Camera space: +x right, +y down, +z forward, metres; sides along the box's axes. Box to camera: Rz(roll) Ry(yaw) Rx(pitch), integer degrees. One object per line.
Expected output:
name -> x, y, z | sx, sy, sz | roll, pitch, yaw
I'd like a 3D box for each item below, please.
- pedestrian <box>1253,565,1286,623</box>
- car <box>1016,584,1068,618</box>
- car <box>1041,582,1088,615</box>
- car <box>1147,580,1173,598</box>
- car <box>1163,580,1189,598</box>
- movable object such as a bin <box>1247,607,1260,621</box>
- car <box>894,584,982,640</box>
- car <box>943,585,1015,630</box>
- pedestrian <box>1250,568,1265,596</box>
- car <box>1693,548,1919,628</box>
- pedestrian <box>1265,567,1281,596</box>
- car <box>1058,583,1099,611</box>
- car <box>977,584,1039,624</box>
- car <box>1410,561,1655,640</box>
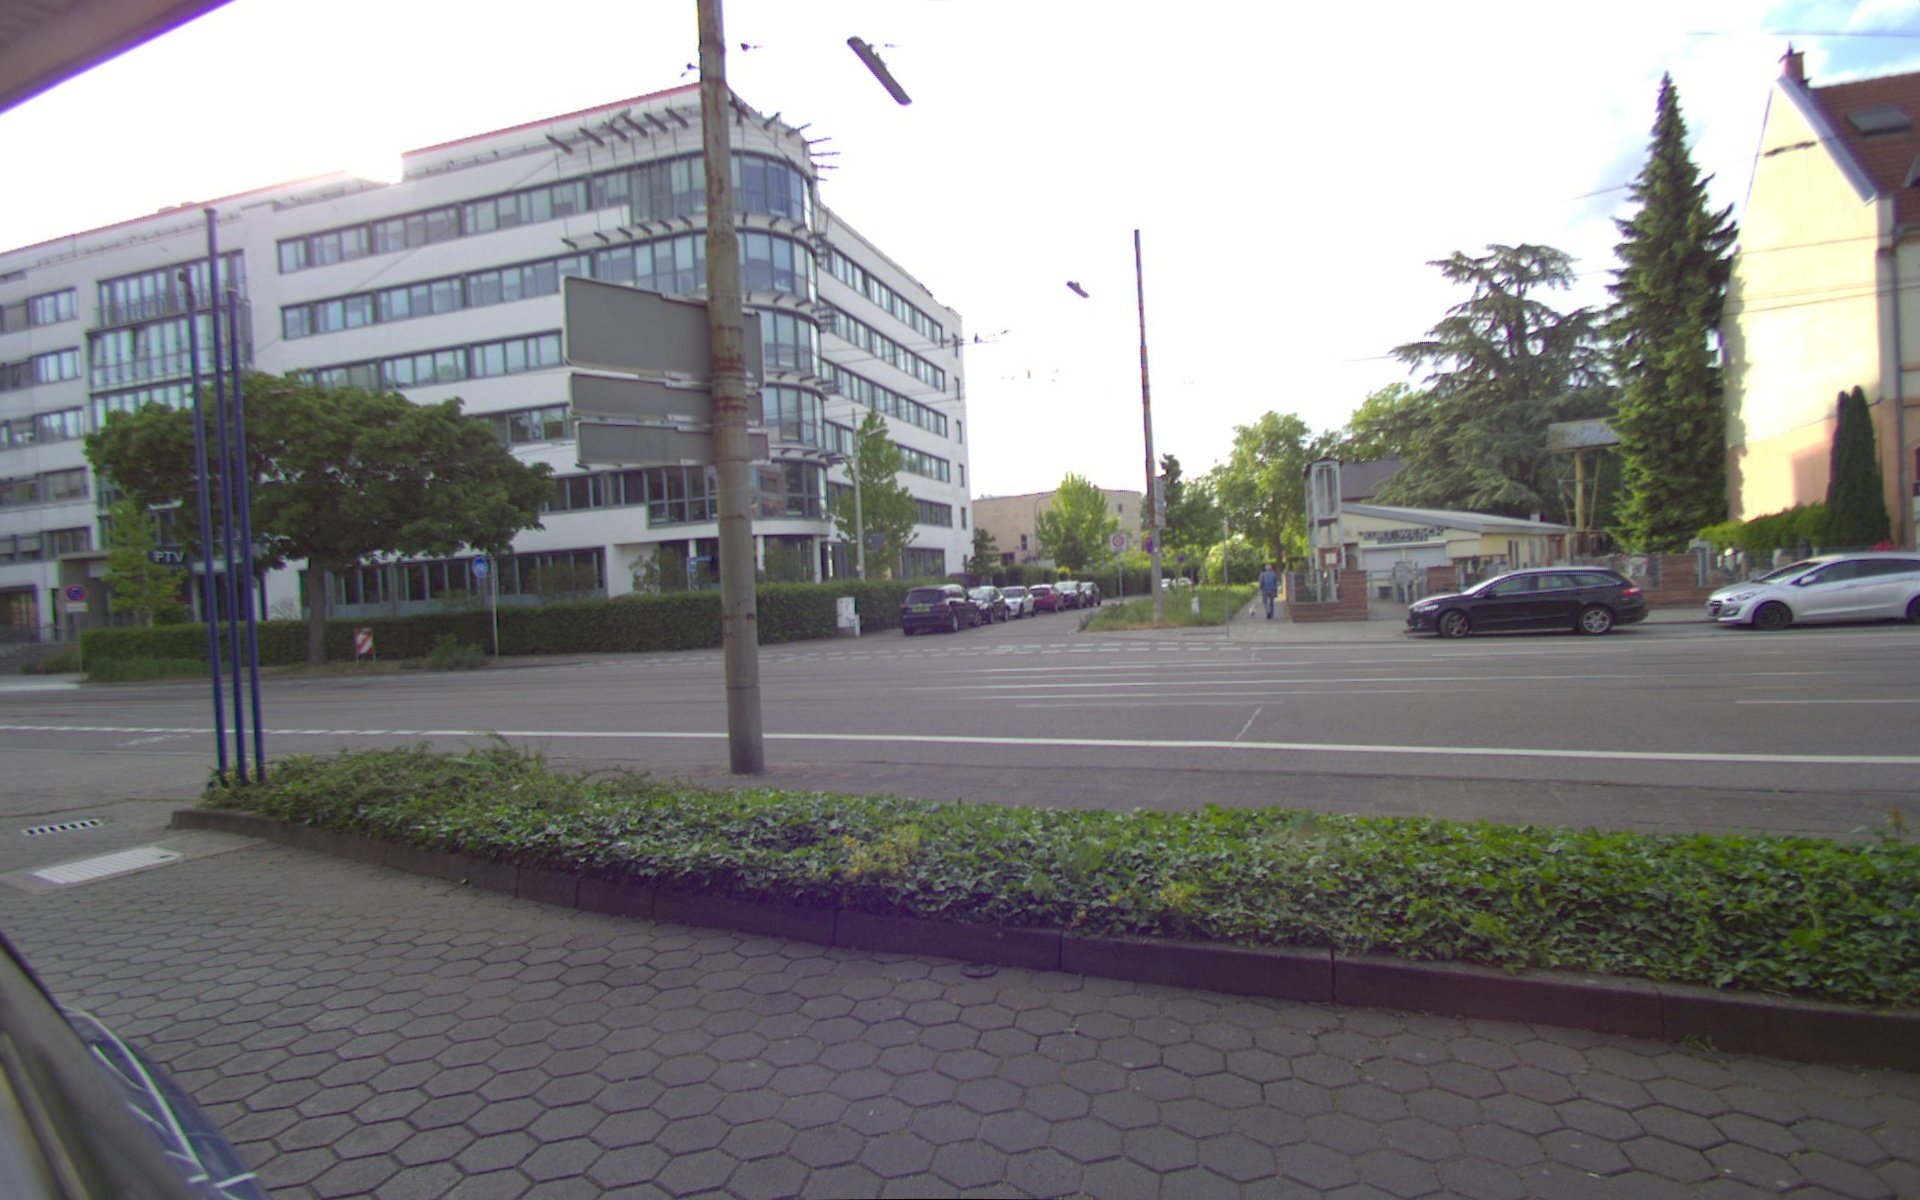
pedestrian -> 9.752, -0.197, 31.874 | 0.902, 1.712, 0.920 | -3, 2, 18
car -> 4.296, 0.023, 52.407 | 1.807, 1.589, 4.175 | -4, 0, 16
car -> 6.027, -0.136, 57.805 | 1.807, 1.704, 4.392 | -4, 0, 16
car -> 19.957, -1.138, 100.906 | 1.811, 1.654, 4.044 | -4, 0, 22
car -> 22.835, -1.158, 106.853 | 1.813, 1.654, 4.040 | -4, 0, 25
movable object such as a bin -> 9.685, 0.461, 33.415 | 0.363, 0.397, 0.660 | -2, 3, 15
car -> -0.693, 0.358, 35.567 | 1.807, 1.701, 4.370 | -4, 1, 16
car -> 0.825, 0.271, 40.982 | 1.807, 1.589, 4.175 | -4, 0, 16
pedestrian -> 20.302, -1.225, 69.047 | 0.965, 1.896, 1.056 | -1, 0, 18
car -> 18.400, -0.266, 21.396 | 4.349, 1.493, 1.732 | -3, 1, 22
pedestrian -> 21.256, -1.237, 68.729 | 0.965, 1.896, 1.056 | -1, 0, 18
car -> 7.382, -0.214, 62.571 | 1.807, 1.585, 4.052 | -4, 0, 16
car -> 2.219, 0.152, 45.686 | 1.807, 1.589, 4.175 | -4, 0, 16
car -> 13.007, 0.010, 23.367 | 4.632, 1.533, 1.842 | -3, 2, 22
